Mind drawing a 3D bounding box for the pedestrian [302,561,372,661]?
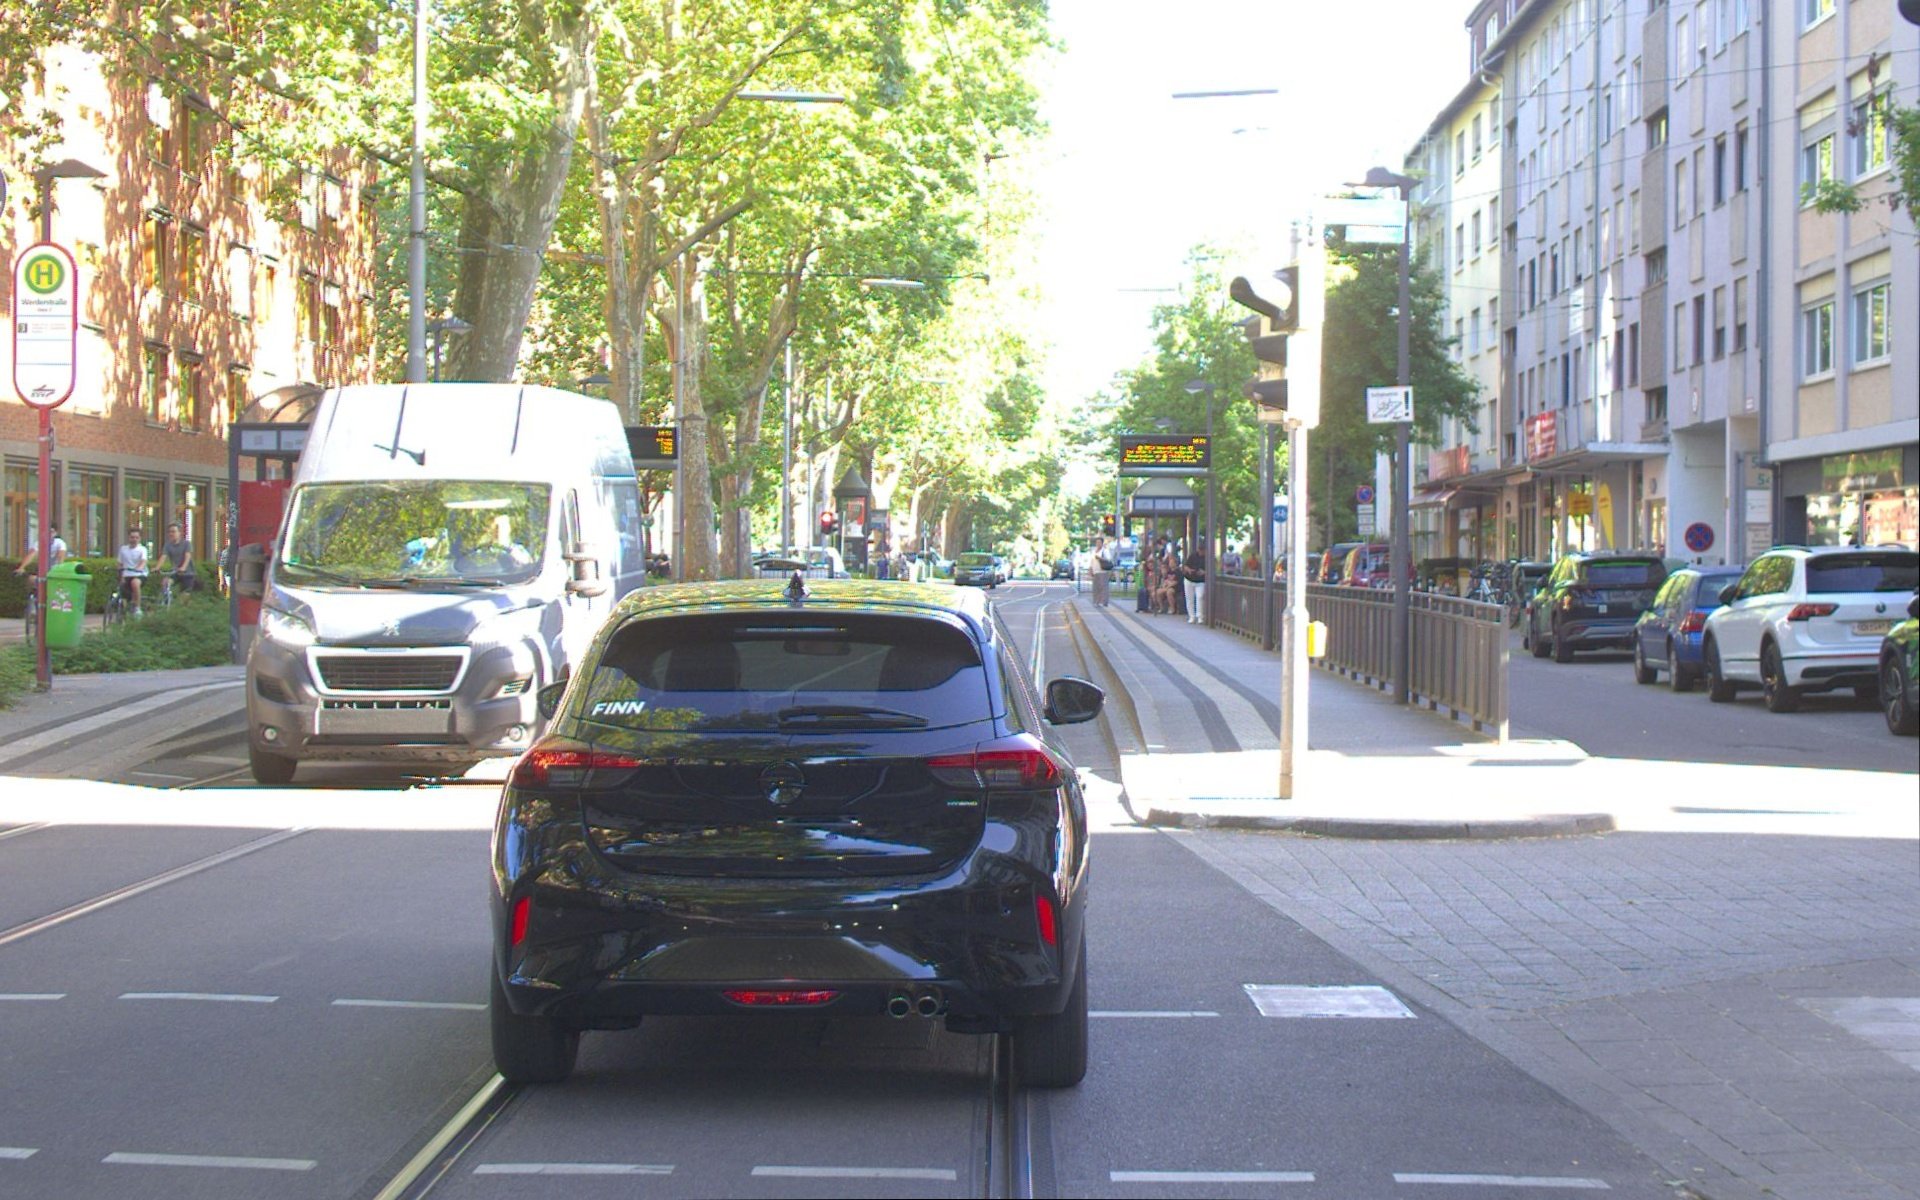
[{"bbox_3d":[-7.323,0.126,40.423,0.705,1.164,0.659,0,0,-2],"label":"pedestrian"}]

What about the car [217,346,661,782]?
[{"bbox_3d":[-3.536,-0.241,24.613,2.113,2.729,6.114,0,0,1],"label":"car"}]

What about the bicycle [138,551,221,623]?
[{"bbox_3d":[-12.573,-0.212,55.468,0.782,1.107,2.596,1,0,-1],"label":"bicycle"}]

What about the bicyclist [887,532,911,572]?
[{"bbox_3d":[-2.683,-2.103,151.221,0.941,1.697,1.152,2,0,5],"label":"bicyclist"}]

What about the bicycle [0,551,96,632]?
[{"bbox_3d":[-13.111,-0.127,49.400,0.782,1.107,2.596,1,0,-1],"label":"bicycle"}]

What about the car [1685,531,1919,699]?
[{"bbox_3d":[8.838,0.138,35.572,1.799,1.600,4.415,2,0,2],"label":"car"}]

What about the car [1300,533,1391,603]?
[{"bbox_3d":[10.328,-0.849,92.385,1.993,1.791,4.000,1,0,1],"label":"car"}]

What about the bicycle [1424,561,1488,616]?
[{"bbox_3d":[10.579,-0.258,73.368,0.602,1.132,2.435,1,0,-10],"label":"bicycle"}]

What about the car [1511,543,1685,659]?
[{"bbox_3d":[9.513,0.005,51.547,1.857,1.610,4.397,2,0,2],"label":"car"}]

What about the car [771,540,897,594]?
[{"bbox_3d":[-4.256,-1.095,115.791,4.113,1.695,1.884,1,0,-5],"label":"car"}]

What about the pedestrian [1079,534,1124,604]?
[{"bbox_3d":[3.484,-0.768,84.592,0.751,1.703,0.762,2,0,36],"label":"pedestrian"}]

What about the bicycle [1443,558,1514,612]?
[{"bbox_3d":[11.276,-0.333,74.807,0.611,1.132,2.922,1,0,-10],"label":"bicycle"}]

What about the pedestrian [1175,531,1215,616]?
[{"bbox_3d":[4.481,-0.514,65.585,0.631,1.571,0.870,3,1,2],"label":"pedestrian"}]

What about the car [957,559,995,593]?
[{"bbox_3d":[0.772,-1.143,164.875,1.745,1.539,4.000,1,0,0],"label":"car"}]

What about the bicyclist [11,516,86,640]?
[{"bbox_3d":[-13.091,-0.319,49.410,0.774,1.744,0.997,1,0,-1],"label":"bicyclist"}]

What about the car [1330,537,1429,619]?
[{"bbox_3d":[10.445,-0.545,85.840,1.993,1.946,4.000,1,0,1],"label":"car"}]

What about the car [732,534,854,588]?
[{"bbox_3d":[-6.215,-1.444,127.647,4.384,1.845,2.000,1,0,-5],"label":"car"}]

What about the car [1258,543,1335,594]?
[{"bbox_3d":[10.236,-0.954,104.818,1.993,1.481,4.000,2,0,2],"label":"car"}]

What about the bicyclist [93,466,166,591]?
[{"bbox_3d":[-11.880,-1.018,49.204,0.782,1.757,0.951,1,0,-1],"label":"bicyclist"}]

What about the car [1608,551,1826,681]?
[{"bbox_3d":[8.991,0.171,41.150,1.744,1.435,4.247,2,0,2],"label":"car"}]

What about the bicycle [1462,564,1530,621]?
[{"bbox_3d":[11.033,-0.165,70.872,0.621,1.132,2.440,1,0,-10],"label":"bicycle"}]

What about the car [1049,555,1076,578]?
[{"bbox_3d":[7.089,-2.317,238.309,1.745,1.539,4.000,1,0,0],"label":"car"}]

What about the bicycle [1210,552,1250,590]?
[{"bbox_3d":[8.493,-0.913,108.201,0.861,1.132,2.396,1,0,-5],"label":"bicycle"}]

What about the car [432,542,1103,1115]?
[{"bbox_3d":[-0.529,0.592,10.893,1.759,1.503,3.683,0,0,-1],"label":"car"}]

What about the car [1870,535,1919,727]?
[{"bbox_3d":[9.050,0.279,28.349,1.993,1.610,4.445,1,0,2],"label":"car"}]

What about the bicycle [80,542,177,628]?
[{"bbox_3d":[-11.898,-0.217,49.270,0.782,1.187,2.596,1,0,-1],"label":"bicycle"}]

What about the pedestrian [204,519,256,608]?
[{"bbox_3d":[-13.791,-0.687,64.993,0.735,1.666,0.861,1,0,2],"label":"pedestrian"}]

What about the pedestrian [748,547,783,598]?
[{"bbox_3d":[-6.712,-0.946,118.556,1.163,1.742,0.958,1,0,-4],"label":"pedestrian"}]

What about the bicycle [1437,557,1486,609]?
[{"bbox_3d":[11.323,-0.389,77.612,0.410,1.132,2.204,1,0,-10],"label":"bicycle"}]

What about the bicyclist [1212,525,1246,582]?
[{"bbox_3d":[8.487,-1.461,108.476,0.861,1.753,1.054,1,0,-5],"label":"bicyclist"}]

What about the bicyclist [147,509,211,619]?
[{"bbox_3d":[-12.558,-0.579,55.300,0.774,1.744,0.997,1,0,-1],"label":"bicyclist"}]

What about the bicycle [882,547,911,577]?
[{"bbox_3d":[-2.764,-1.657,150.319,0.955,1.236,2.977,2,0,5],"label":"bicycle"}]
